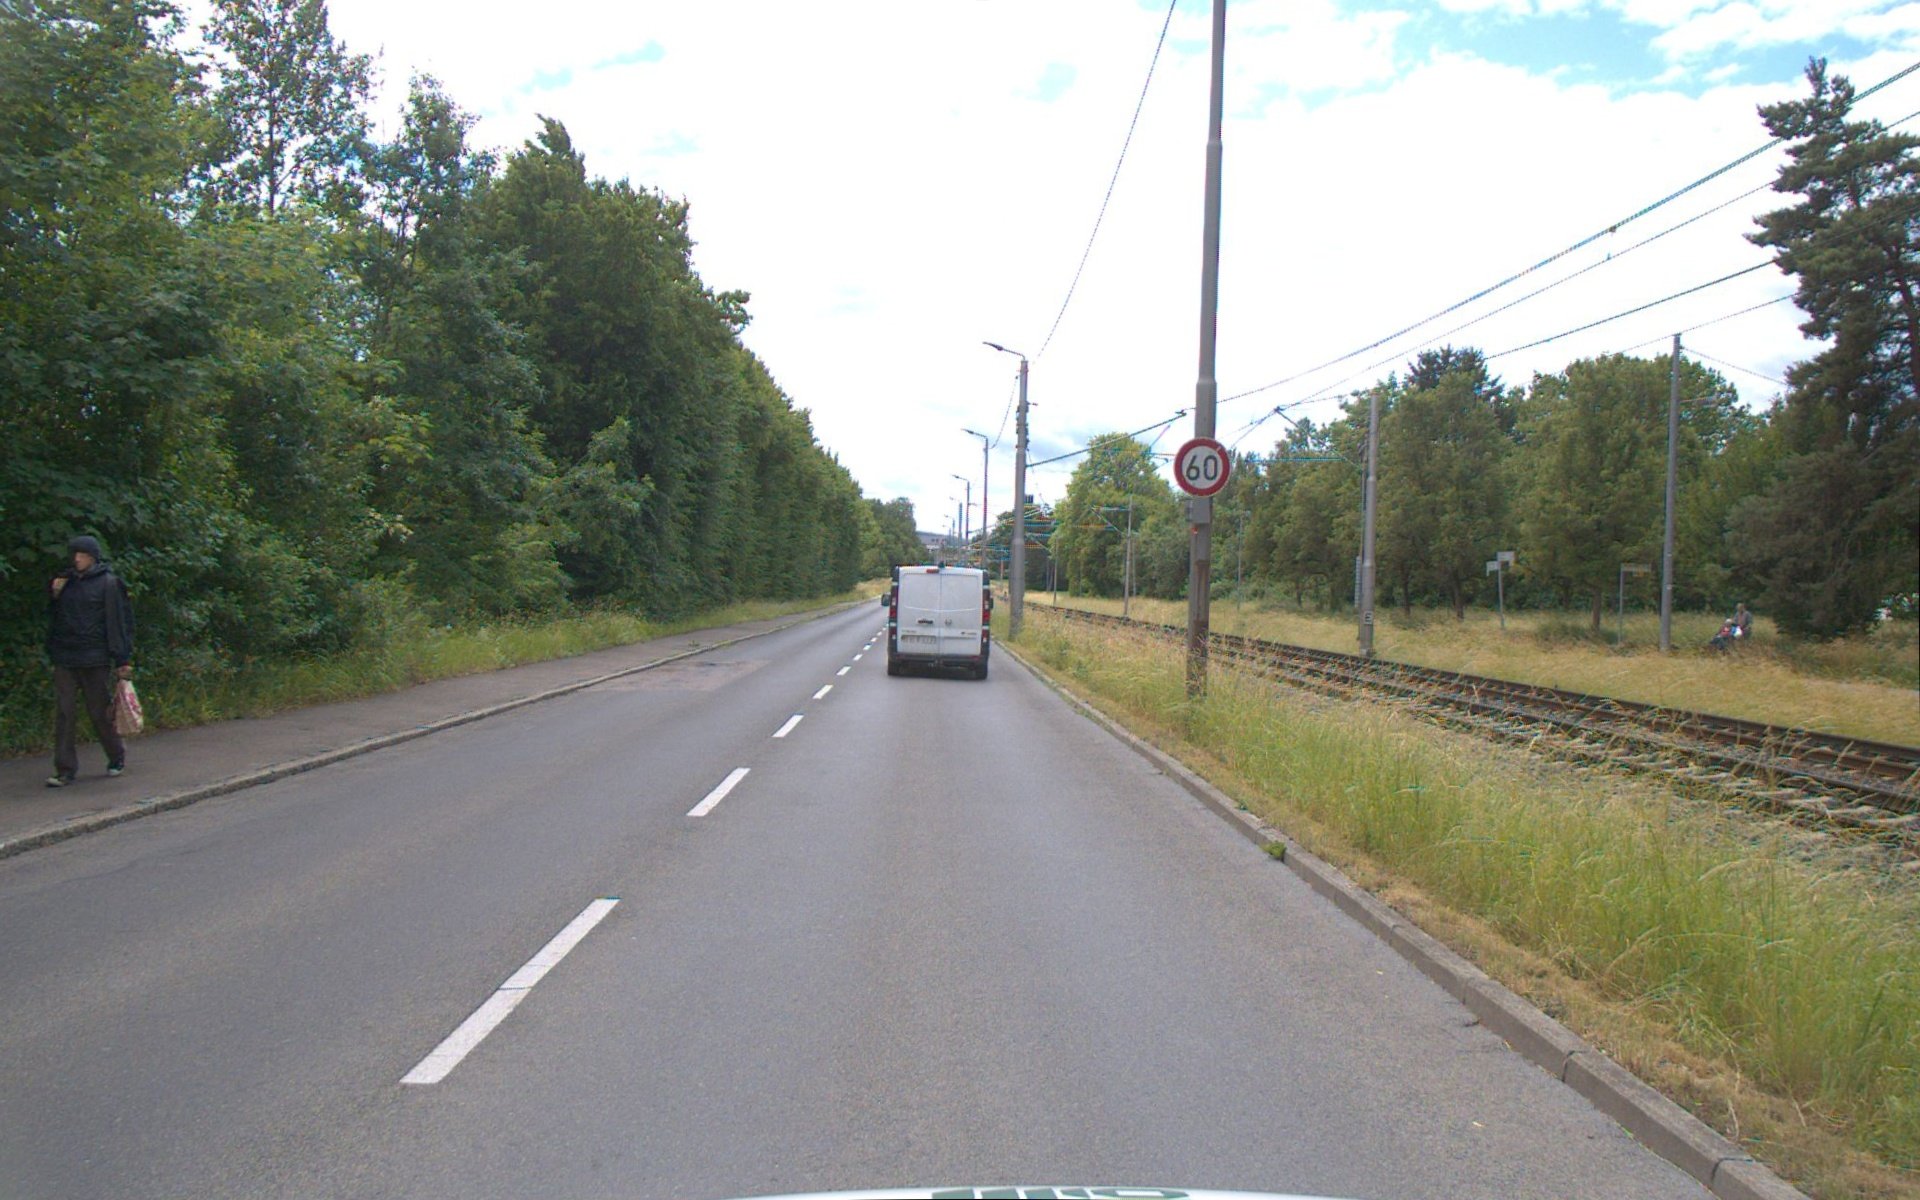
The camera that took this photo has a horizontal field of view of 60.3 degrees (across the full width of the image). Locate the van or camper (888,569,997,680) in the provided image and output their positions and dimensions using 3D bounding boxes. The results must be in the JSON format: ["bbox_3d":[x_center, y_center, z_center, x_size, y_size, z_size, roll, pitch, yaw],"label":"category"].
[{"bbox_3d":[-0.296,0.415,30.959,1.902,1.930,4.285,0,0,0],"label":"van or camper"}]

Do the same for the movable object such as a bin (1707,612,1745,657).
[{"bbox_3d":[22.883,1.024,49.409,0.648,1.333,1.634,1,0,39],"label":"movable object such as a bin"}]

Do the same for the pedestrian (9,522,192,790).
[{"bbox_3d":[-6.061,0.381,11.707,0.851,1.800,0.789,2,1,-5],"label":"pedestrian"}]

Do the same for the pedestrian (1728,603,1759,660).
[{"bbox_3d":[23.871,0.952,50.386,0.646,1.696,0.953,1,0,39],"label":"pedestrian"}]
